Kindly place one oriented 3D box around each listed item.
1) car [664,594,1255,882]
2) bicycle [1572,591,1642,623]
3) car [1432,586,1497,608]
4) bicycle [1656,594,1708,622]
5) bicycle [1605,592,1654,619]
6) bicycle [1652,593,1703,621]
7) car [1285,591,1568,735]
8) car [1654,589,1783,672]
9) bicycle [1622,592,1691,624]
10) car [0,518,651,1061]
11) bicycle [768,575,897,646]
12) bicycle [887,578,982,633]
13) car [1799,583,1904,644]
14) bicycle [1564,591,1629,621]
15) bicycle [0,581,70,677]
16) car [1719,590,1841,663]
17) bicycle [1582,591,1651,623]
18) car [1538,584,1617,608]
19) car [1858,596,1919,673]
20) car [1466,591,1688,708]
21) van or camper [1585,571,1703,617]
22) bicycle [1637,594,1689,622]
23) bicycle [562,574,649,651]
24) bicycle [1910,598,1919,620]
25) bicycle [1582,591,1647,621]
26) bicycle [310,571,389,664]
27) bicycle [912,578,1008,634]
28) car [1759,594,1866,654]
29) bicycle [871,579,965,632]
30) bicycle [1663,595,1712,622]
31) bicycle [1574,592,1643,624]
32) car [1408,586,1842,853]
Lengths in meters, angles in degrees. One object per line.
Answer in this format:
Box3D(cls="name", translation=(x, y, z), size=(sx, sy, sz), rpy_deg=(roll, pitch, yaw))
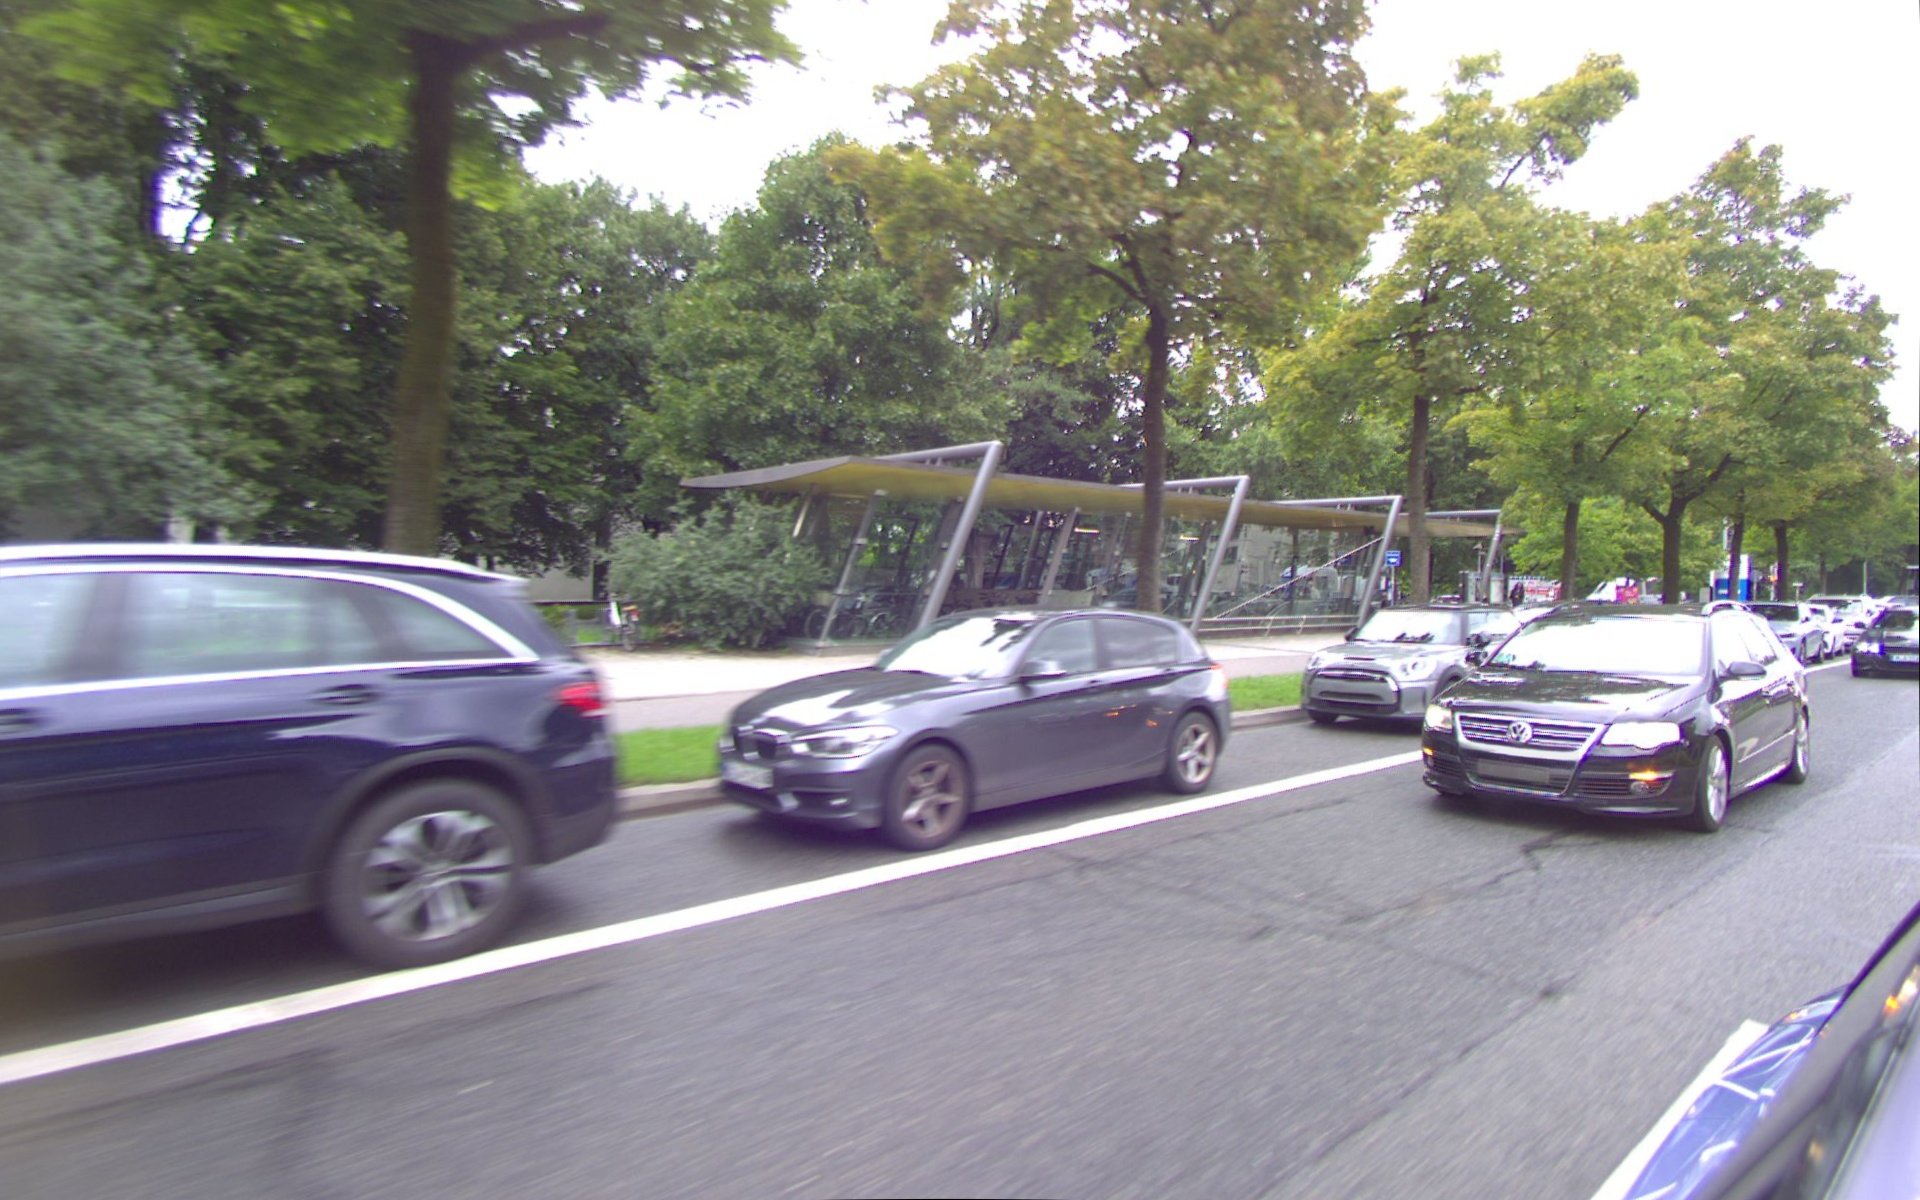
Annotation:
Box3D(cls="car", translation=(0.226, 0.702, 7.252), size=(4.230, 1.457, 1.636), rpy_deg=(0, 1, -42))
Box3D(cls="bicycle", translation=(26.958, 0.261, 42.192), size=(0.520, 1.171, 2.344), rpy_deg=(1, 3, -40))
Box3D(cls="car", translation=(37.048, -0.238, 74.398), size=(1.600, 1.472, 3.942), rpy_deg=(0, 1, -42))
Box3D(cls="bicycle", translation=(33.170, 0.370, 46.520), size=(0.556, 1.156, 1.814), rpy_deg=(1, 3, -31))
Box3D(cls="bicycle", translation=(31.664, 0.263, 47.885), size=(0.557, 1.156, 1.811), rpy_deg=(0, 3, -39))
Box3D(cls="bicycle", translation=(34.253, 0.312, 48.321), size=(1.936, 1.227, 0.559), rpy_deg=(4, 3, 39))
Box3D(cls="car", translation=(5.832, 0.643, 12.446), size=(4.006, 1.471, 1.637), rpy_deg=(0, 1, -41))
Box3D(cls="car", translation=(15.850, 0.566, 21.075), size=(4.023, 1.554, 1.543), rpy_deg=(0, 0, -44))
Box3D(cls="bicycle", translation=(29.808, 0.322, 43.341), size=(0.574, 1.171, 2.344), rpy_deg=(1, 3, -40))
Box3D(cls="car", translation=(-3.676, 0.573, 3.751), size=(4.516, 1.696, 1.790), rpy_deg=(0, 1, -41))
Box3D(cls="bicycle", translation=(-2.415, 0.182, 19.403), size=(2.506, 1.296, 0.646), rpy_deg=(0, 1, -41))
Box3D(cls="bicycle", translation=(-0.606, 0.124, 25.075), size=(2.506, 1.296, 0.646), rpy_deg=(0, 1, -41))
Box3D(cls="car", translation=(27.363, 0.388, 31.009), size=(4.819, 1.746, 1.750), rpy_deg=(0, 0, -41))
Box3D(cls="bicycle", translation=(28.551, 0.249, 45.441), size=(0.574, 1.171, 2.344), rpy_deg=(1, 3, -40))
Box3D(cls="bicycle", translation=(-12.063, 0.328, 13.183), size=(0.636, 1.102, 2.547), rpy_deg=(0, 1, -40))
Box3D(cls="car", translation=(19.573, 0.560, 24.088), size=(4.326, 1.553, 1.722), rpy_deg=(0, 1, -44))
Box3D(cls="bicycle", translation=(27.789, 0.290, 42.885), size=(0.520, 1.171, 2.344), rpy_deg=(1, 3, -40))
Box3D(cls="car", translation=(42.143, -0.276, 69.139), size=(1.856, 1.516, 4.305), rpy_deg=(0, 1, -43))
Box3D(cls="car", translation=(19.893, 0.659, 20.589), size=(4.589, 1.447, 1.818), rpy_deg=(0, 1, -41))
Box3D(cls="car", translation=(9.540, 0.652, 15.526), size=(4.149, 1.527, 1.721), rpy_deg=(0, 1, -41))
Box3D(cls="van or camper", translation=(36.205, -0.300, 53.556), size=(6.069, 2.325, 2.153), rpy_deg=(0, 1, -23))
Box3D(cls="bicycle", translation=(32.106, 0.361, 46.232), size=(0.556, 1.156, 1.813), rpy_deg=(0, 3, -35))
Box3D(cls="bicycle", translation=(-6.478, 0.191, 18.399), size=(0.636, 1.296, 2.547), rpy_deg=(0, 1, -40))
Box3D(cls="bicycle", translation=(47.965, 0.461, 49.605), size=(1.919, 1.094, 0.744), rpy_deg=(1, 1, 15))
Box3D(cls="bicycle", translation=(29.379, 0.268, 45.445), size=(0.574, 1.171, 2.344), rpy_deg=(1, 3, -40))
Box3D(cls="bicycle", translation=(-9.313, 0.218, 15.383), size=(0.636, 1.296, 2.547), rpy_deg=(0, 1, -40))
Box3D(cls="bicycle", translation=(0.020, 0.127, 24.624), size=(2.506, 1.296, 0.646), rpy_deg=(0, 1, -41))
Box3D(cls="car", translation=(23.643, 0.618, 28.001), size=(4.427, 1.527, 1.704), rpy_deg=(0, -1, -43))
Box3D(cls="bicycle", translation=(-1.035, 0.122, 25.636), size=(2.506, 1.296, 0.646), rpy_deg=(0, 1, -41))
Box3D(cls="bicycle", translation=(34.176, 0.368, 47.565), size=(1.803, 1.156, 0.559), rpy_deg=(4, 3, 39))
Box3D(cls="bicycle", translation=(27.288, 0.305, 42.640), size=(0.520, 1.171, 2.344), rpy_deg=(1, 3, -40))
Box3D(cls="car", translation=(5.370, 0.654, 7.880), size=(4.591, 1.493, 1.750), rpy_deg=(0, 1, -42))
